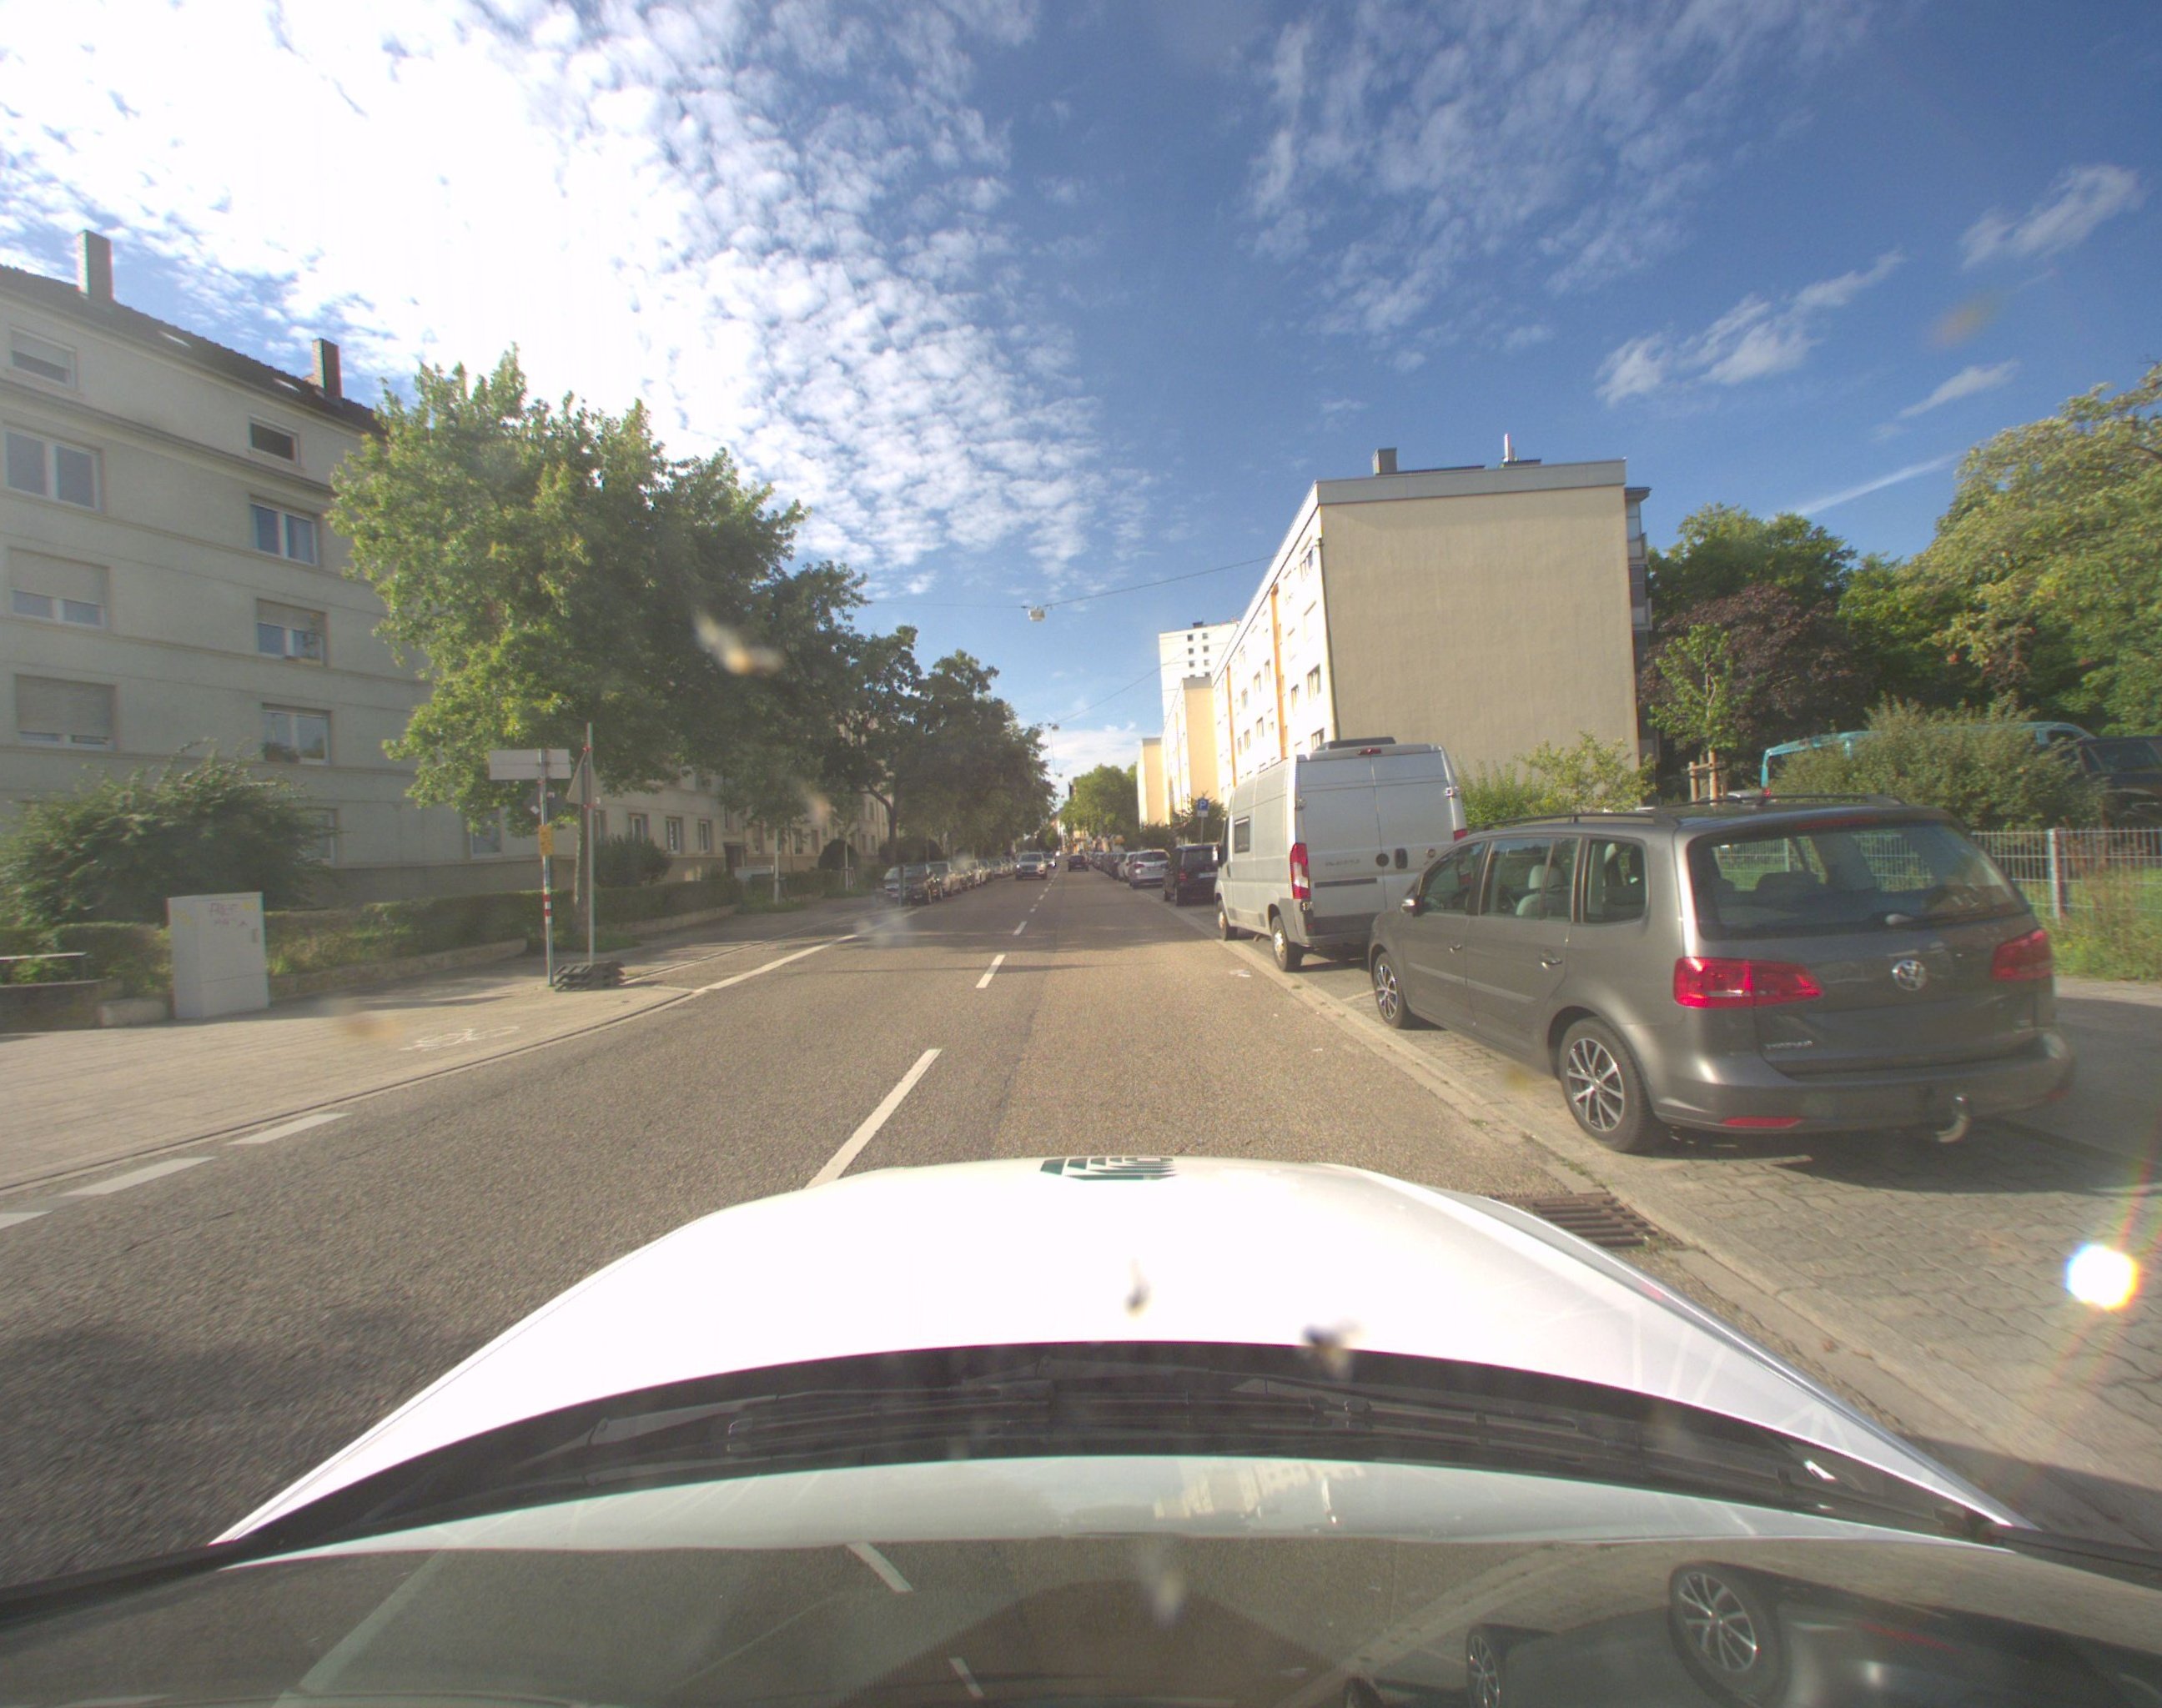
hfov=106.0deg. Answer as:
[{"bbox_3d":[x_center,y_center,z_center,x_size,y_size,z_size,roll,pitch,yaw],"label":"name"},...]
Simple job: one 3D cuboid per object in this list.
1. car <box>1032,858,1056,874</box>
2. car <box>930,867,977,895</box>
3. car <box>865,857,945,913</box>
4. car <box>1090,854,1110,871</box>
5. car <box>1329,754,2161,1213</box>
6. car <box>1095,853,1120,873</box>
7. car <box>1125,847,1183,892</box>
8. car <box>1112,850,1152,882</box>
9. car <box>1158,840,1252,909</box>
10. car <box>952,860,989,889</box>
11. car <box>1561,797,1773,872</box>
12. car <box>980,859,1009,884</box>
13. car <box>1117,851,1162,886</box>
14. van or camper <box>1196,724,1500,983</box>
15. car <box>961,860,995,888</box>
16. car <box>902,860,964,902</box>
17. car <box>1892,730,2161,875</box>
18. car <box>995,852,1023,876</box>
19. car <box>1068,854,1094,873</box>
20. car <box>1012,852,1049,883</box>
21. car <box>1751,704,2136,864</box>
[{"bbox_3d":[-3.726,1.196,82.518,1.993,1.570,3.988,-3,0,-8],"label":"car"},{"bbox_3d":[-6.025,1.264,38.901,1.803,1.116,3.586,-4,0,-4],"label":"car"},{"bbox_3d":[-5.968,0.995,28.054,1.990,1.640,3.994,-4,0,-4],"label":"car"},{"bbox_3d":[2.093,0.928,88.994,1.986,1.684,4.002,-4,0,2],"label":"car"},{"bbox_3d":[3.349,0.485,5.318,1.988,1.615,4.406,-4,0,-1],"label":"car"},{"bbox_3d":[2.258,0.728,70.519,1.986,1.574,4.002,-4,0,2],"label":"car"},{"bbox_3d":[2.872,0.582,32.747,1.986,1.574,4.002,-4,0,2],"label":"car"},{"bbox_3d":[2.770,0.643,45.304,1.986,1.574,4.002,-4,0,2],"label":"car"},{"bbox_3d":[3.262,0.515,22.262,1.986,1.574,4.002,-4,0,2],"label":"car"},{"bbox_3d":[-5.984,1.081,44.322,1.634,1.390,3.429,-4,0,-4],"label":"car"},{"bbox_3d":[15.175,-0.488,21.298,3.965,1.585,2.004,-4,0,7],"label":"car"},{"bbox_3d":[-6.146,1.203,57.965,1.803,1.561,3.429,-4,0,-4],"label":"car"},{"bbox_3d":[2.878,0.686,40.672,1.986,1.530,4.002,-4,0,2],"label":"car"},{"bbox_3d":[3.225,-0.008,11.334,2.203,2.607,5.368,-4,0,-1],"label":"van or camper"},{"bbox_3d":[-6.522,1.230,51.741,1.803,1.561,3.429,-4,0,-4],"label":"car"},{"bbox_3d":[-5.993,1.062,33.426,1.990,1.451,3.899,-4,0,-4],"label":"car"},{"bbox_3d":[14.359,-0.745,11.298,3.967,1.738,2.003,-4,0,5],"label":"car"},{"bbox_3d":[-6.557,0.871,74.726,1.986,2.013,4.002,-4,0,2],"label":"car"},{"bbox_3d":[-0.030,0.802,70.428,1.990,1.570,3.994,-3,0,-4],"label":"car"},{"bbox_3d":[-3.076,0.808,49.969,2.052,1.663,3.921,-4,0,-4],"label":"car"},{"bbox_3d":[14.347,-1.092,13.806,4.099,2.186,2.003,-4,0,5],"label":"car"}]
